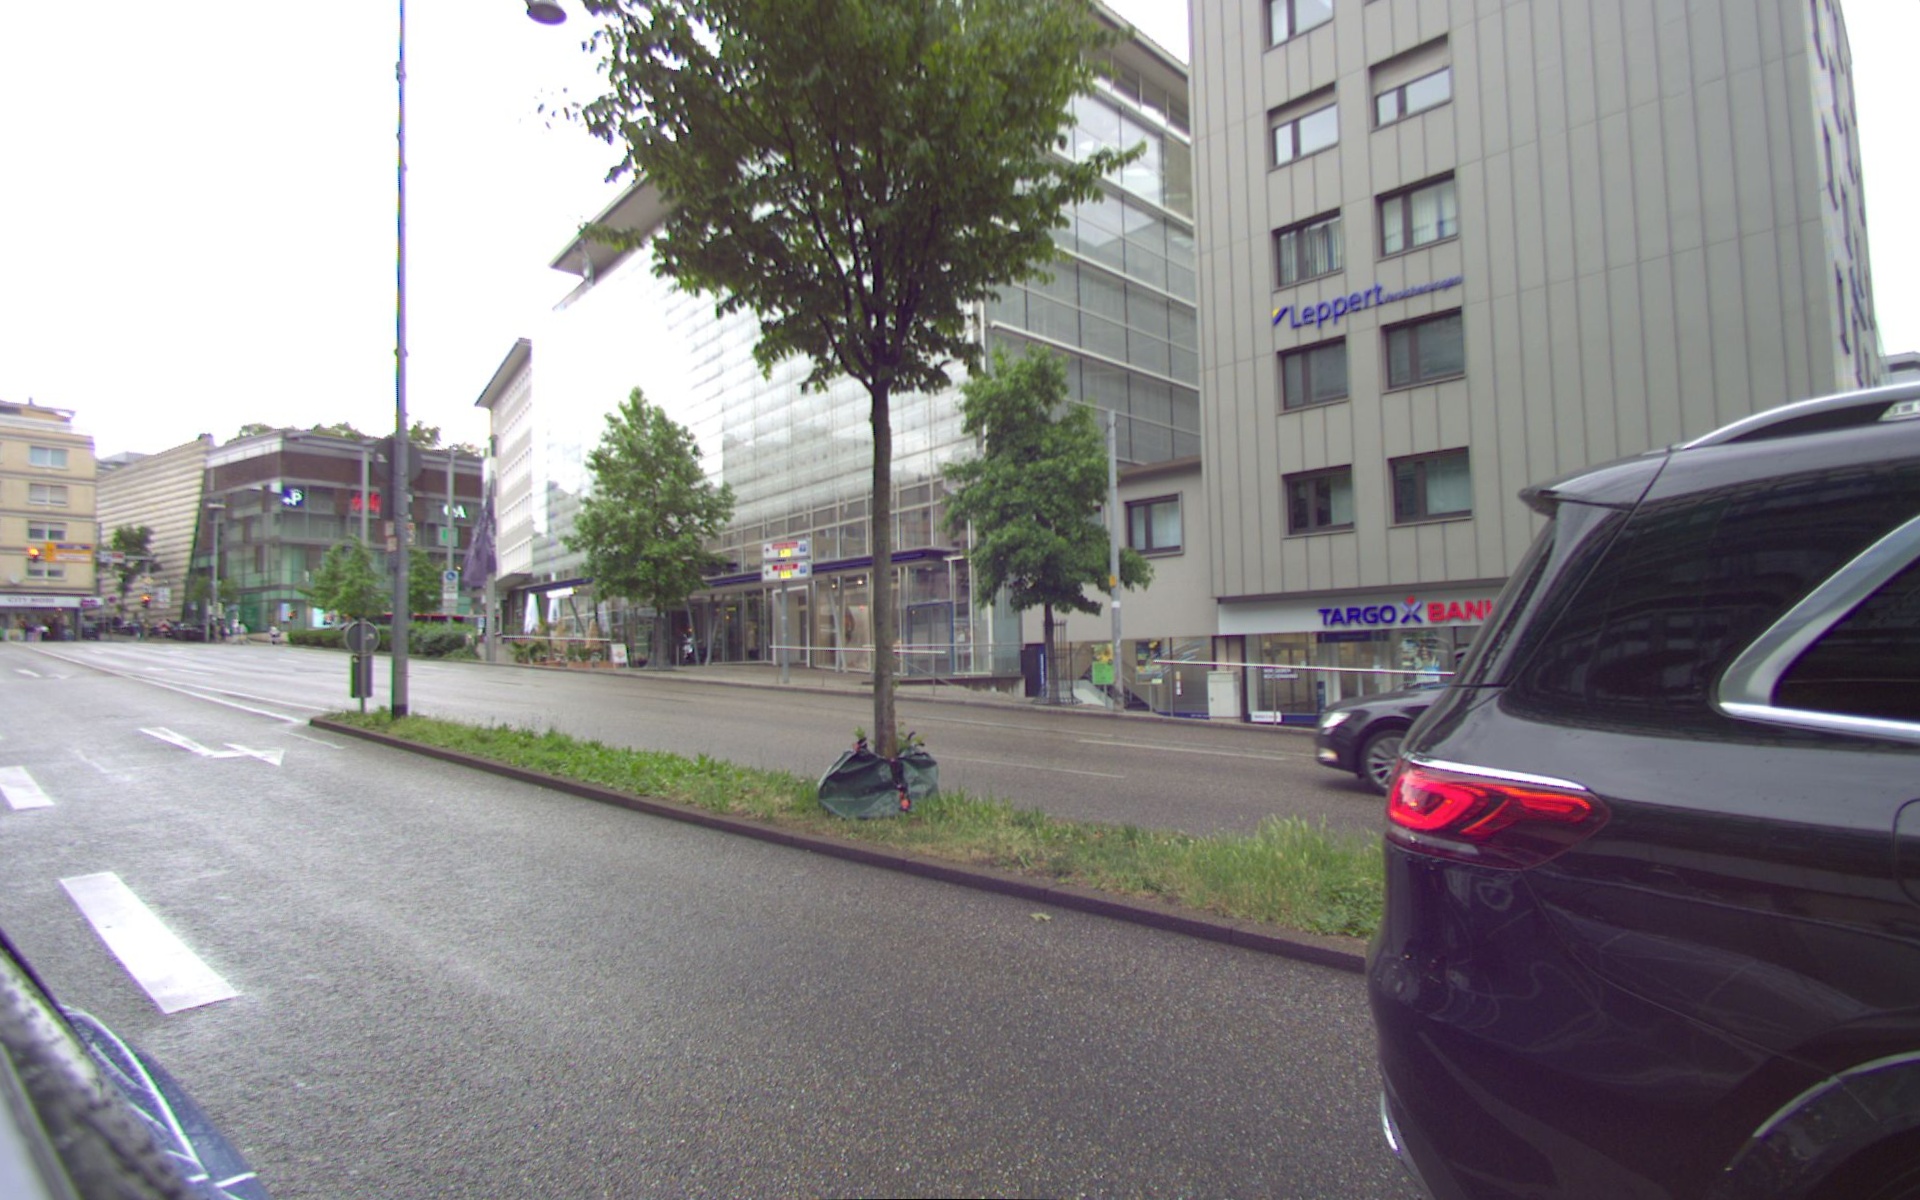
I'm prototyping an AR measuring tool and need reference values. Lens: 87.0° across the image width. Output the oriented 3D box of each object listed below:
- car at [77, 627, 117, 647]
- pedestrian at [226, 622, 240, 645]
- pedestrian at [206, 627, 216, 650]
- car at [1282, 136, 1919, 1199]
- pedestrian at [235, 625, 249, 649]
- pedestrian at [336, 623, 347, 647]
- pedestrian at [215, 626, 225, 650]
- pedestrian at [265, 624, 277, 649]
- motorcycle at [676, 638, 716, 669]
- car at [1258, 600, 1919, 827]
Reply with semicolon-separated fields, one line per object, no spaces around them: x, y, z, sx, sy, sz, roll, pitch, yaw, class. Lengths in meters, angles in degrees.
-90.188;3.831;105.755;4.575;2.029;1.977;0;-2;34;car
-50.785;2.345;70.688;0.602;1.642;0.625;-1;-3;42;pedestrian
-53.940;2.749;72.876;0.602;1.642;0.422;-1;-3;44;pedestrian
3.083;0.382;0.812;5.069;1.884;1.892;0;0;40;car
-49.468;2.527;69.688;0.603;1.642;0.625;-1;-3;44;pedestrian
-46.724;2.642;76.455;0.618;1.788;0.689;0;0;-45;pedestrian
-52.209;2.697;71.439;0.603;1.642;0.422;-1;-3;45;pedestrian
-50.661;2.694;74.447;0.617;1.788;0.689;0;0;-43;pedestrian
-11.995;2.427;45.954;0.620;1.336;1.685;-1;-3;41;motorcycle
5.180;0.914;8.729;4.732;1.497;1.617;-4;-6;39;car
